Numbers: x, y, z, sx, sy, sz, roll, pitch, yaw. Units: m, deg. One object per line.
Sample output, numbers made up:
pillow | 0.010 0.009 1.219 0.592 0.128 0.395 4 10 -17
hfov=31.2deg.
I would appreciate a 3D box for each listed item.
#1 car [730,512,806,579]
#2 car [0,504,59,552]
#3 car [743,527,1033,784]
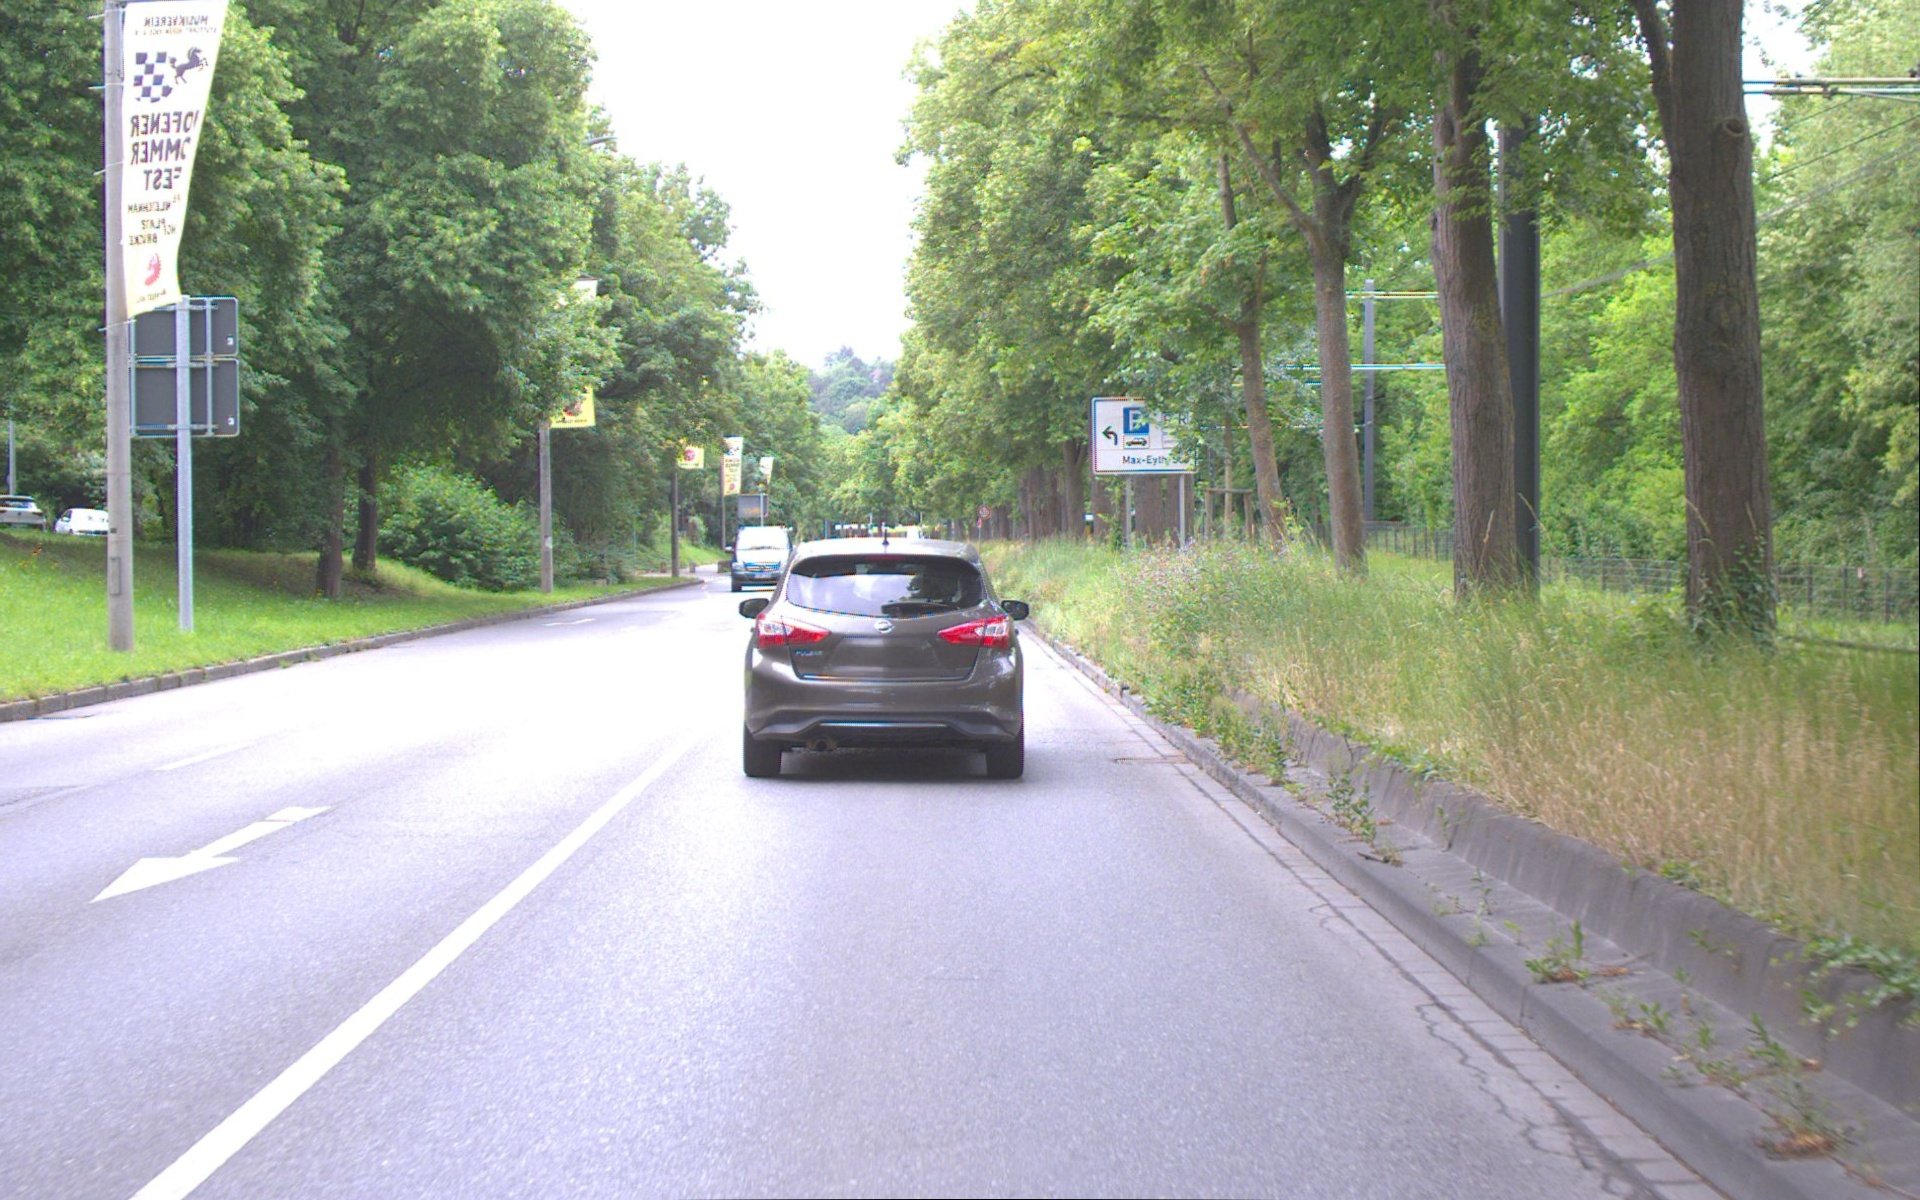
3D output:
car | -5.758 -1.614 103.480 1.993 1.949 5.184 -1 0 0
car | -29.921 -2.279 109.608 1.645 1.481 4.001 1 1 -24
car | -0.476 0.317 22.612 1.730 1.532 3.552 1 1 -1
